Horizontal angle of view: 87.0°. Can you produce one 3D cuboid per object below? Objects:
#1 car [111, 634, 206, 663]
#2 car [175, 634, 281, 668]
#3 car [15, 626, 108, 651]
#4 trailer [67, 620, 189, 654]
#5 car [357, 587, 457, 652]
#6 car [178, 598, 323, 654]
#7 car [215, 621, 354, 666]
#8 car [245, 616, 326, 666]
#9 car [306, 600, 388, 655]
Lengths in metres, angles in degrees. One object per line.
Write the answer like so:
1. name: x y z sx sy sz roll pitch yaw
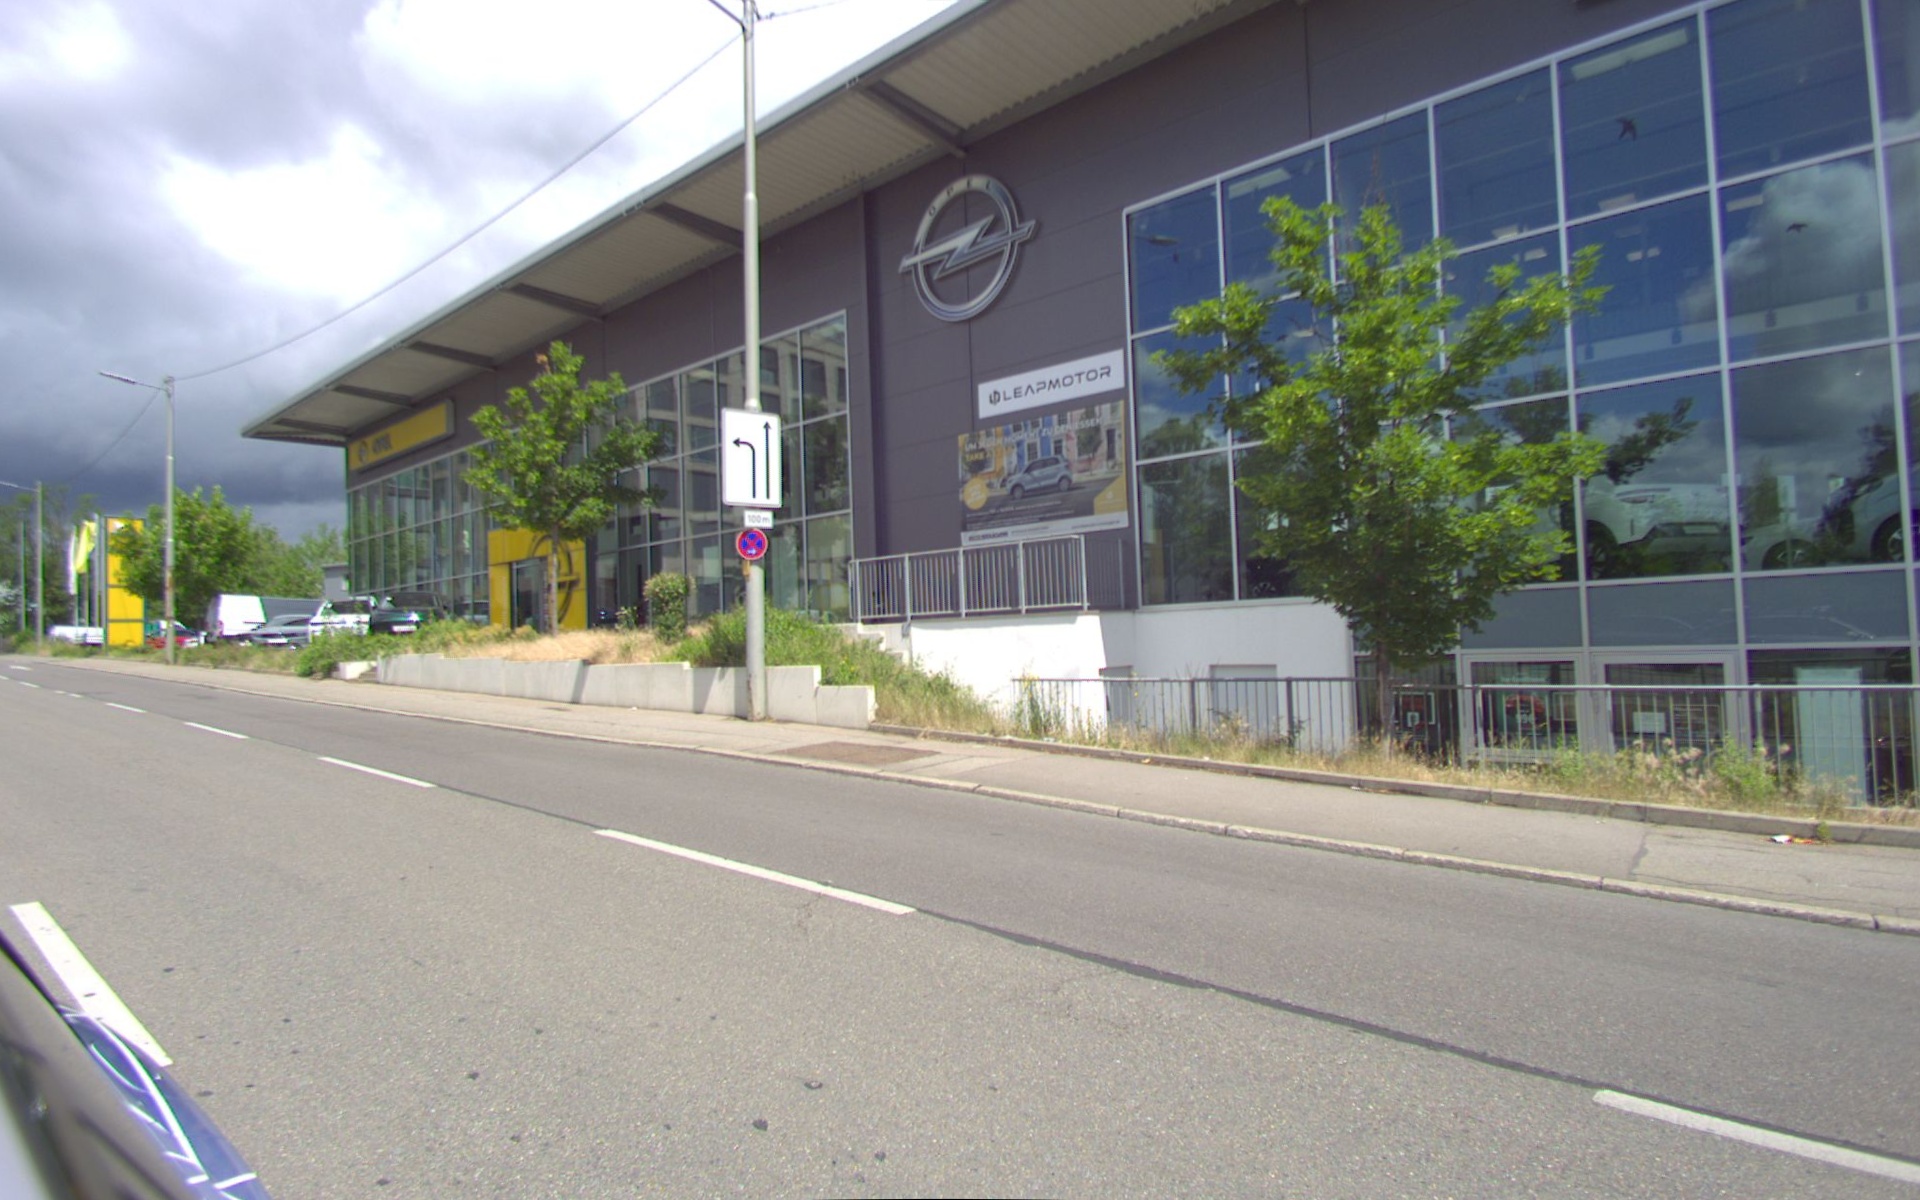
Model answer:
1. car: -42.024 2.520 53.103 1.814 1.420 3.621 -2 -2 42
2. car: -35.530 2.440 49.167 1.559 1.539 3.897 -2 -2 38
3. car: -57.594 2.453 64.934 2.093 1.493 4.200 -2 -2 38
4. trailer: -45.329 2.016 55.232 2.092 1.765 4.776 -2 -2 37
5. car: -15.599 0.579 28.744 1.790 1.625 4.121 -3 -1 -20
6. car: -29.308 1.053 41.917 2.176 2.211 4.477 -1 -1 37
7. car: -25.737 1.635 38.678 1.792 1.625 4.064 -2 -2 32
8. car: -23.345 1.402 35.177 1.767 1.625 4.122 1 -2 -26
9. car: -19.235 0.857 31.908 1.767 1.625 4.122 0 -1 -25
